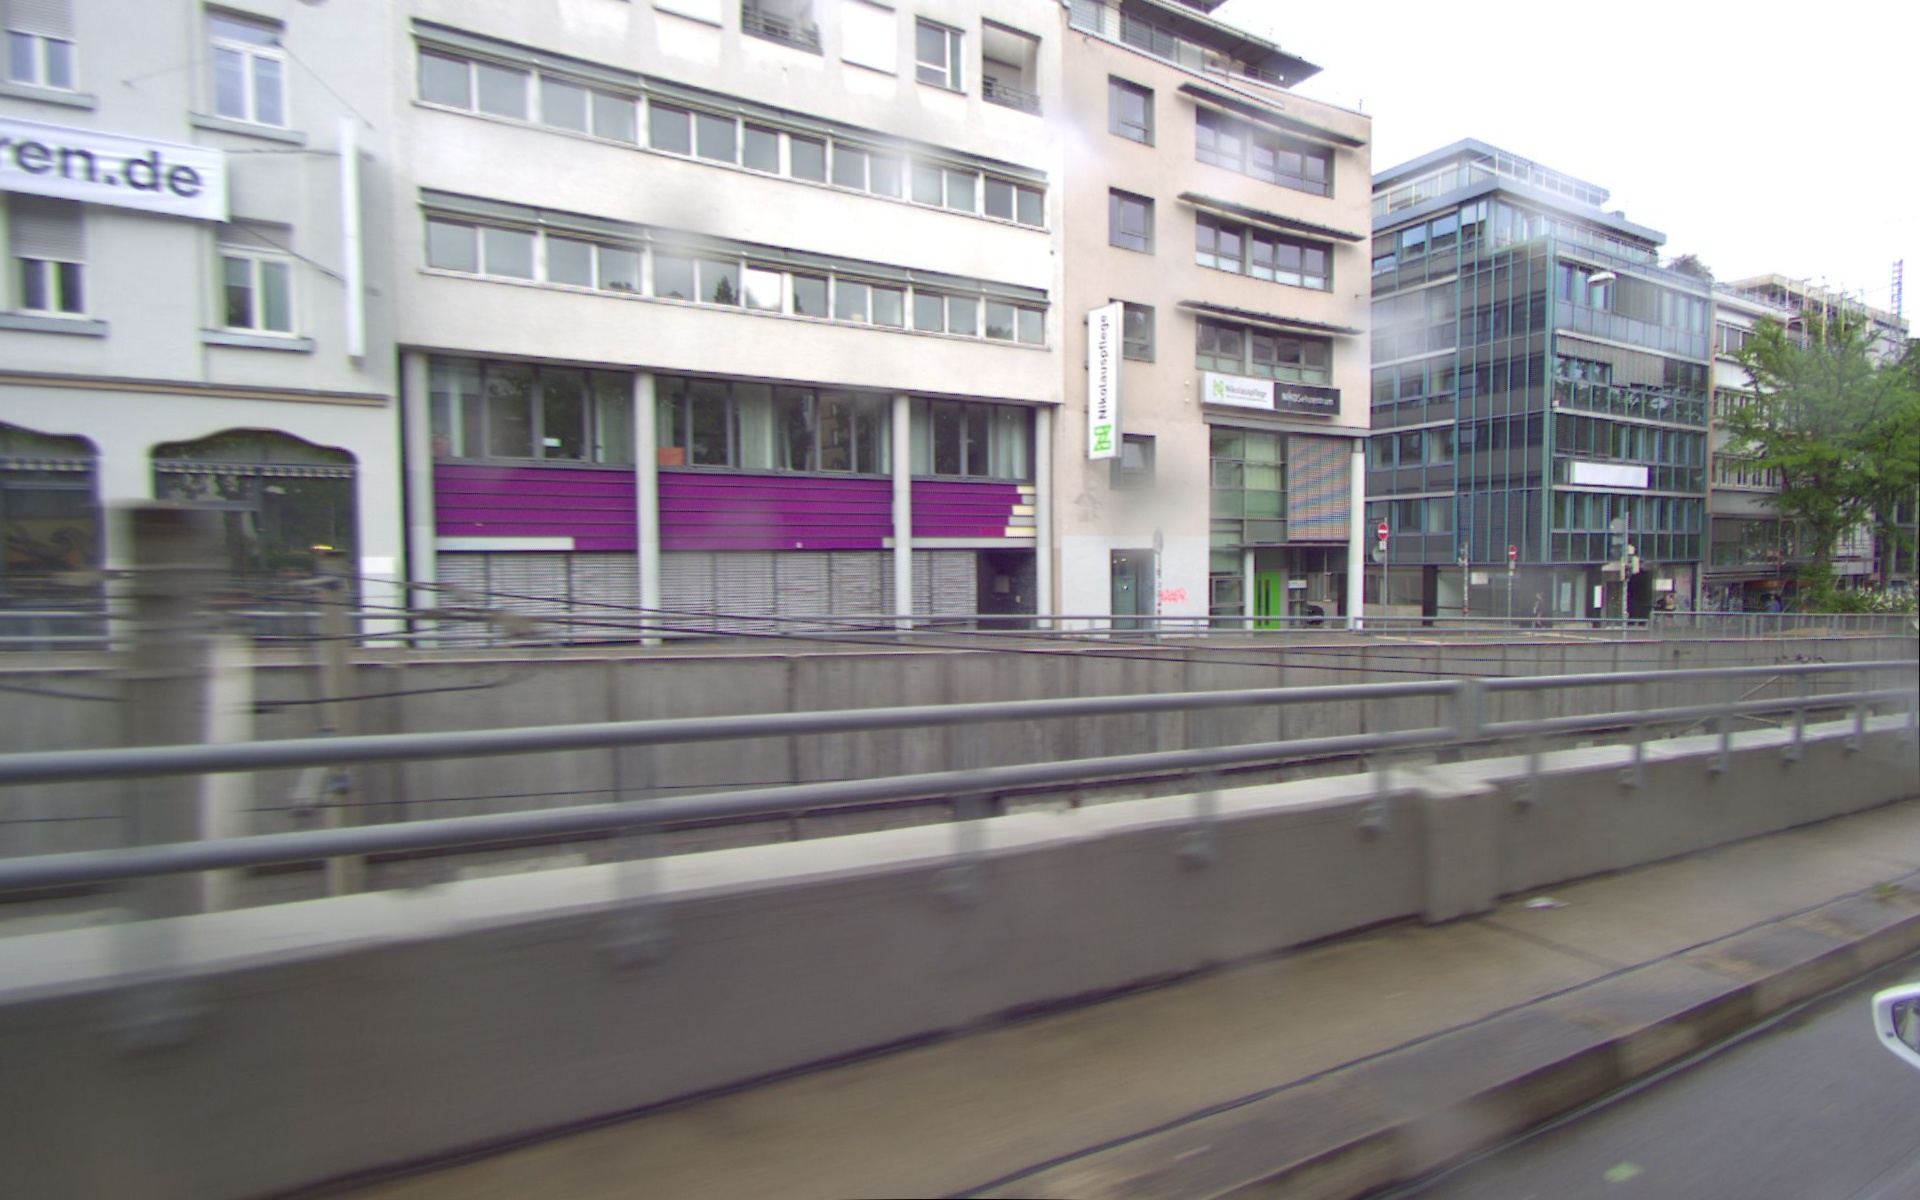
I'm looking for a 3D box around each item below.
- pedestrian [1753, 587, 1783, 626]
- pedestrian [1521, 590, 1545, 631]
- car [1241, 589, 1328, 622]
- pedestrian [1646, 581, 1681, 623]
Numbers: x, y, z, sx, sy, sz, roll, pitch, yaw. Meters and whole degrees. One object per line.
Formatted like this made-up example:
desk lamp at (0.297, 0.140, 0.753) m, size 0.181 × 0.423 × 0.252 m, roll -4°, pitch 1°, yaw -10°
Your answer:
pedestrian at (40.595, 0.316, 50.442) m, size 0.857 × 1.893 × 0.872 m, roll 0°, pitch 3°, yaw -33°
pedestrian at (23.639, 0.428, 41.418) m, size 0.482 × 1.694 × 0.660 m, roll 0°, pitch 1°, yaw -31°
car at (15.639, 0.246, 48.583) m, size 1.789 × 1.445 × 3.867 m, roll 1°, pitch 1°, yaw -29°
pedestrian at (33.011, 0.091, 47.122) m, size 0.943 × 1.893 × 0.864 m, roll 1°, pitch 2°, yaw -12°
